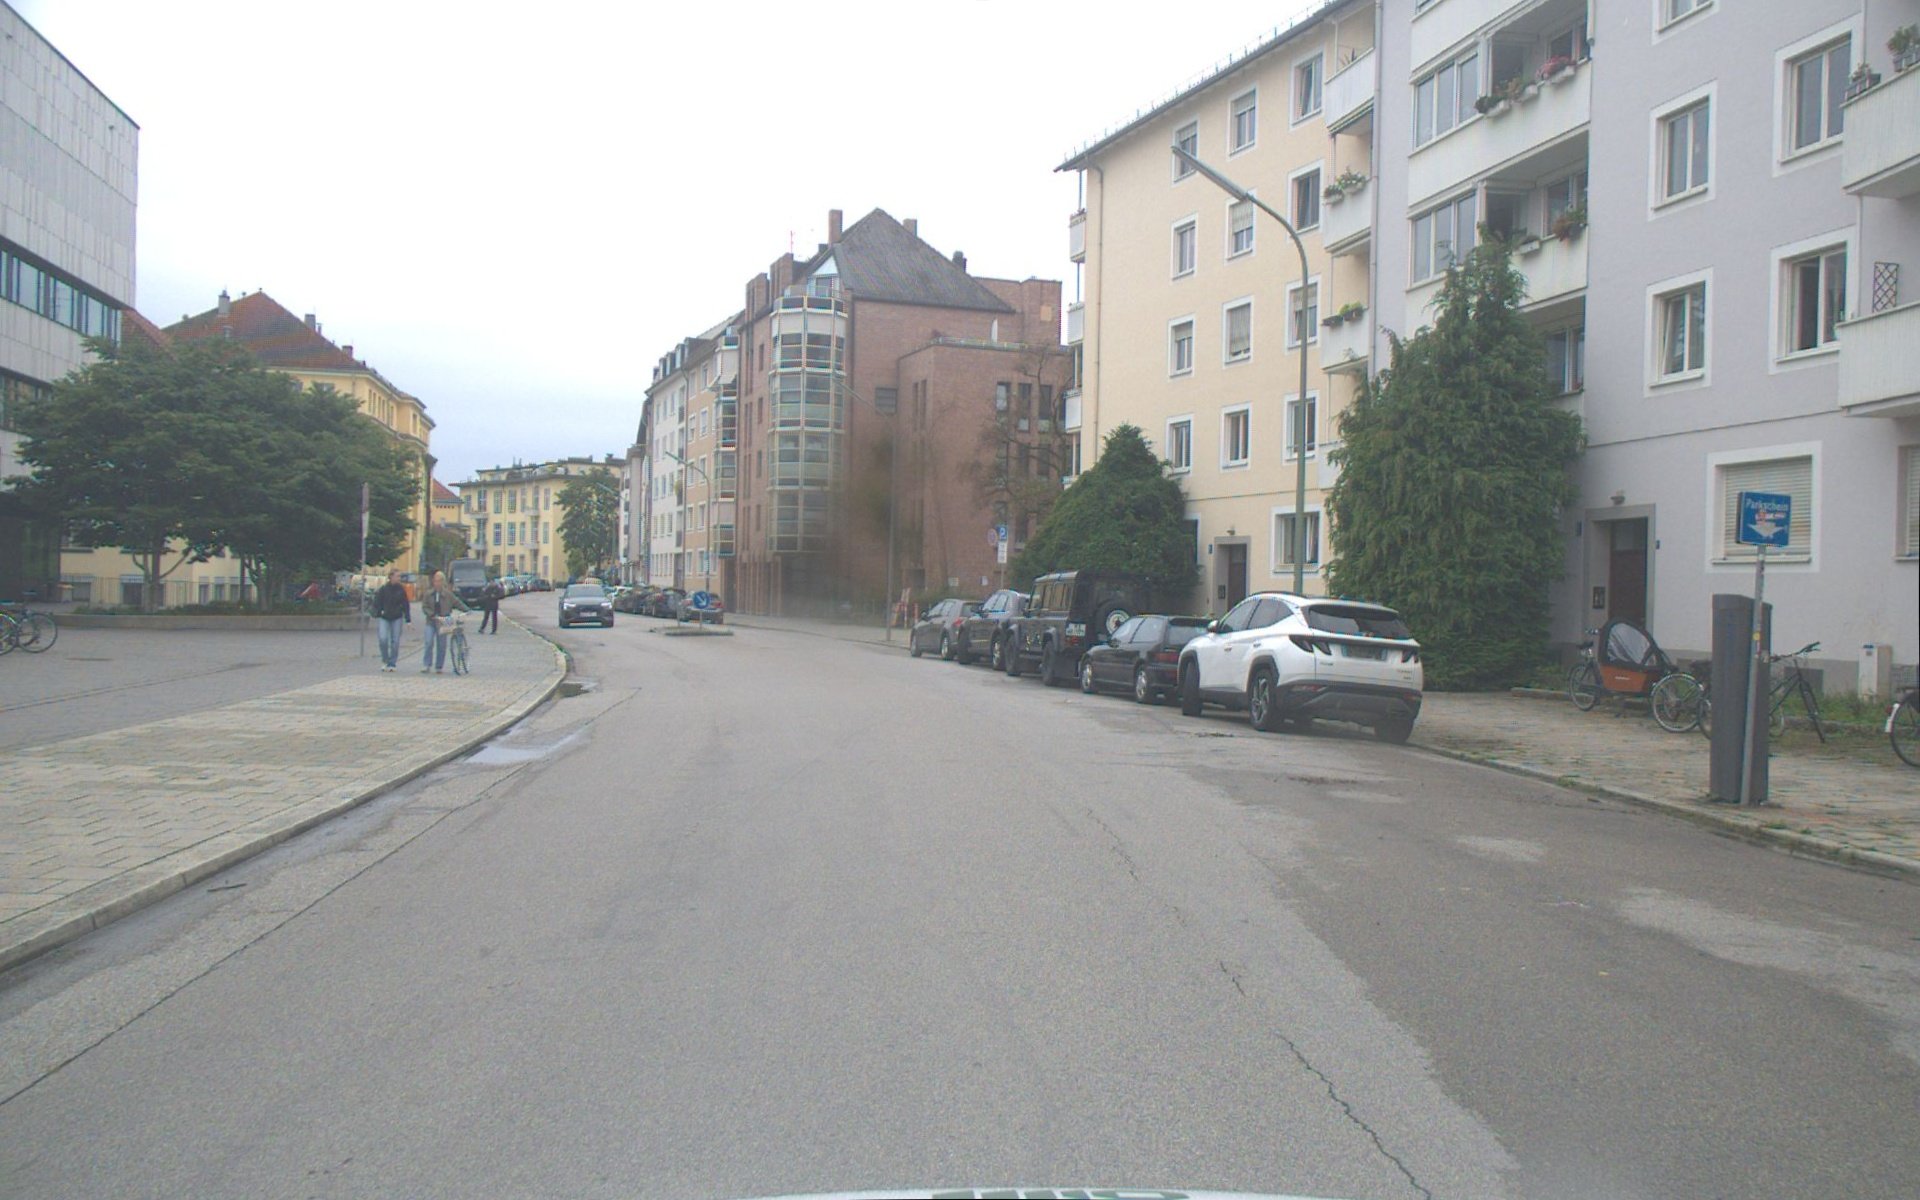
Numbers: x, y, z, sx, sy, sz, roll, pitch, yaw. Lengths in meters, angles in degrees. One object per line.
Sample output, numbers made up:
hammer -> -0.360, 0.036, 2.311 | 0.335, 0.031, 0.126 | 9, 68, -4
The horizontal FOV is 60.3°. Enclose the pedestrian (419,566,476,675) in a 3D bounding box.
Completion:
pedestrian -> -8.693, 0.338, 28.070 | 0.721, 1.799, 0.919 | 1, 0, -6

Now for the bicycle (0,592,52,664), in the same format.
bicycle -> -17.061, 0.435, 28.812 | 1.999, 1.176, 0.591 | 5, -1, -18

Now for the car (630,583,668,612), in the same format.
car -> -16.865, -0.156, 89.493 | 1.607, 1.509, 3.593 | 2, 0, -17

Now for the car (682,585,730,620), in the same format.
car -> -11.501, 0.096, 74.766 | 1.607, 1.509, 3.593 | 2, 0, -17

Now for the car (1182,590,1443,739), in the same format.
car -> 4.223, 0.715, 20.492 | 1.797, 1.601, 3.991 | 2, 1, -10

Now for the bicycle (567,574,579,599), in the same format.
bicycle -> -35.461, -1.249, 151.496 | 1.008, 2.049, 3.270 | 1, -4, -13

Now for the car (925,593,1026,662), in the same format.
car -> 0.325, 0.618, 39.463 | 1.749, 1.536, 3.711 | 1, 0, -10

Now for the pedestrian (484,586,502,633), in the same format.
pedestrian -> -14.890, 0.293, 52.736 | 0.453, 1.486, 0.442 | 2, -1, -7

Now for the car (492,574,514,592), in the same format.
car -> -39.578, -1.448, 143.252 | 1.605, 1.509, 3.598 | 2, 0, -13

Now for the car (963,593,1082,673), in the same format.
car -> 1.266, 0.664, 35.093 | 1.749, 1.536, 3.711 | 2, 0, -10

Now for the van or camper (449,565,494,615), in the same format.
van or camper -> -26.817, -0.546, 90.891 | 2.061, 2.595, 4.754 | 2, 0, -14

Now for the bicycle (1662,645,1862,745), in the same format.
bicycle -> 9.177, 1.072, 18.953 | 1.971, 1.034, 0.774 | -1, 0, -8

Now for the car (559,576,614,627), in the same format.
car -> -14.366, 0.041, 63.515 | 1.959, 1.867, 4.153 | 2, 0, -13

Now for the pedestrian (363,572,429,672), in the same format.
pedestrian -> -9.597, 0.367, 28.155 | 0.745, 1.658, 0.921 | 1, 0, 3

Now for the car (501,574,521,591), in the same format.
car -> -41.553, -1.620, 153.152 | 1.605, 1.509, 3.598 | 2, 0, -13

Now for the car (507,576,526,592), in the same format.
car -> -43.072, -1.592, 160.582 | 1.605, 1.509, 3.598 | 2, 0, -13

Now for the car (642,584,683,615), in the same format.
car -> -15.228, -0.040, 84.573 | 1.607, 1.509, 3.593 | 2, 0, -17

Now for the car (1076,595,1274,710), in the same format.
car -> 3.209, 0.752, 25.385 | 1.751, 1.545, 3.707 | 2, 0, -14

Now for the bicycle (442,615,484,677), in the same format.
bicycle -> -8.457, 0.768, 28.176 | 0.381, 0.986, 1.713 | 1, 0, -7

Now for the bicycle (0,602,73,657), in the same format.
bicycle -> -17.412, 0.502, 30.081 | 2.082, 0.894, 0.825 | 5, -1, -18

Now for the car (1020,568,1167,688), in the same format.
car -> 2.326, 0.452, 29.731 | 1.749, 2.011, 3.711 | -1, 0, -10

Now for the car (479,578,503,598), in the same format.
car -> -35.506, -0.919, 125.204 | 1.607, 1.509, 3.593 | 2, 0, -17

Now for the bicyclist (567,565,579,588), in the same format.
bicyclist -> -35.405, -2.154, 151.214 | 1.016, 2.049, 1.181 | 2, -2, -14

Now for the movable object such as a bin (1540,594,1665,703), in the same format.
movable object such as a bin -> 9.273, 0.681, 23.908 | 1.267, 1.459, 1.048 | -3, 1, -11

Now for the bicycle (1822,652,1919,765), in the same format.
bicycle -> 9.765, 1.058, 16.519 | 1.971, 1.034, 0.774 | -1, 0, -8

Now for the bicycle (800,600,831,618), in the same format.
bicycle -> -7.218, 0.441, 82.570 | 1.085, 0.869, 1.718 | 2, 0, -20

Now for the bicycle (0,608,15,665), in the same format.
bicycle -> -16.753, 0.542, 27.164 | 1.999, 0.901, 0.672 | 4, -1, -18
